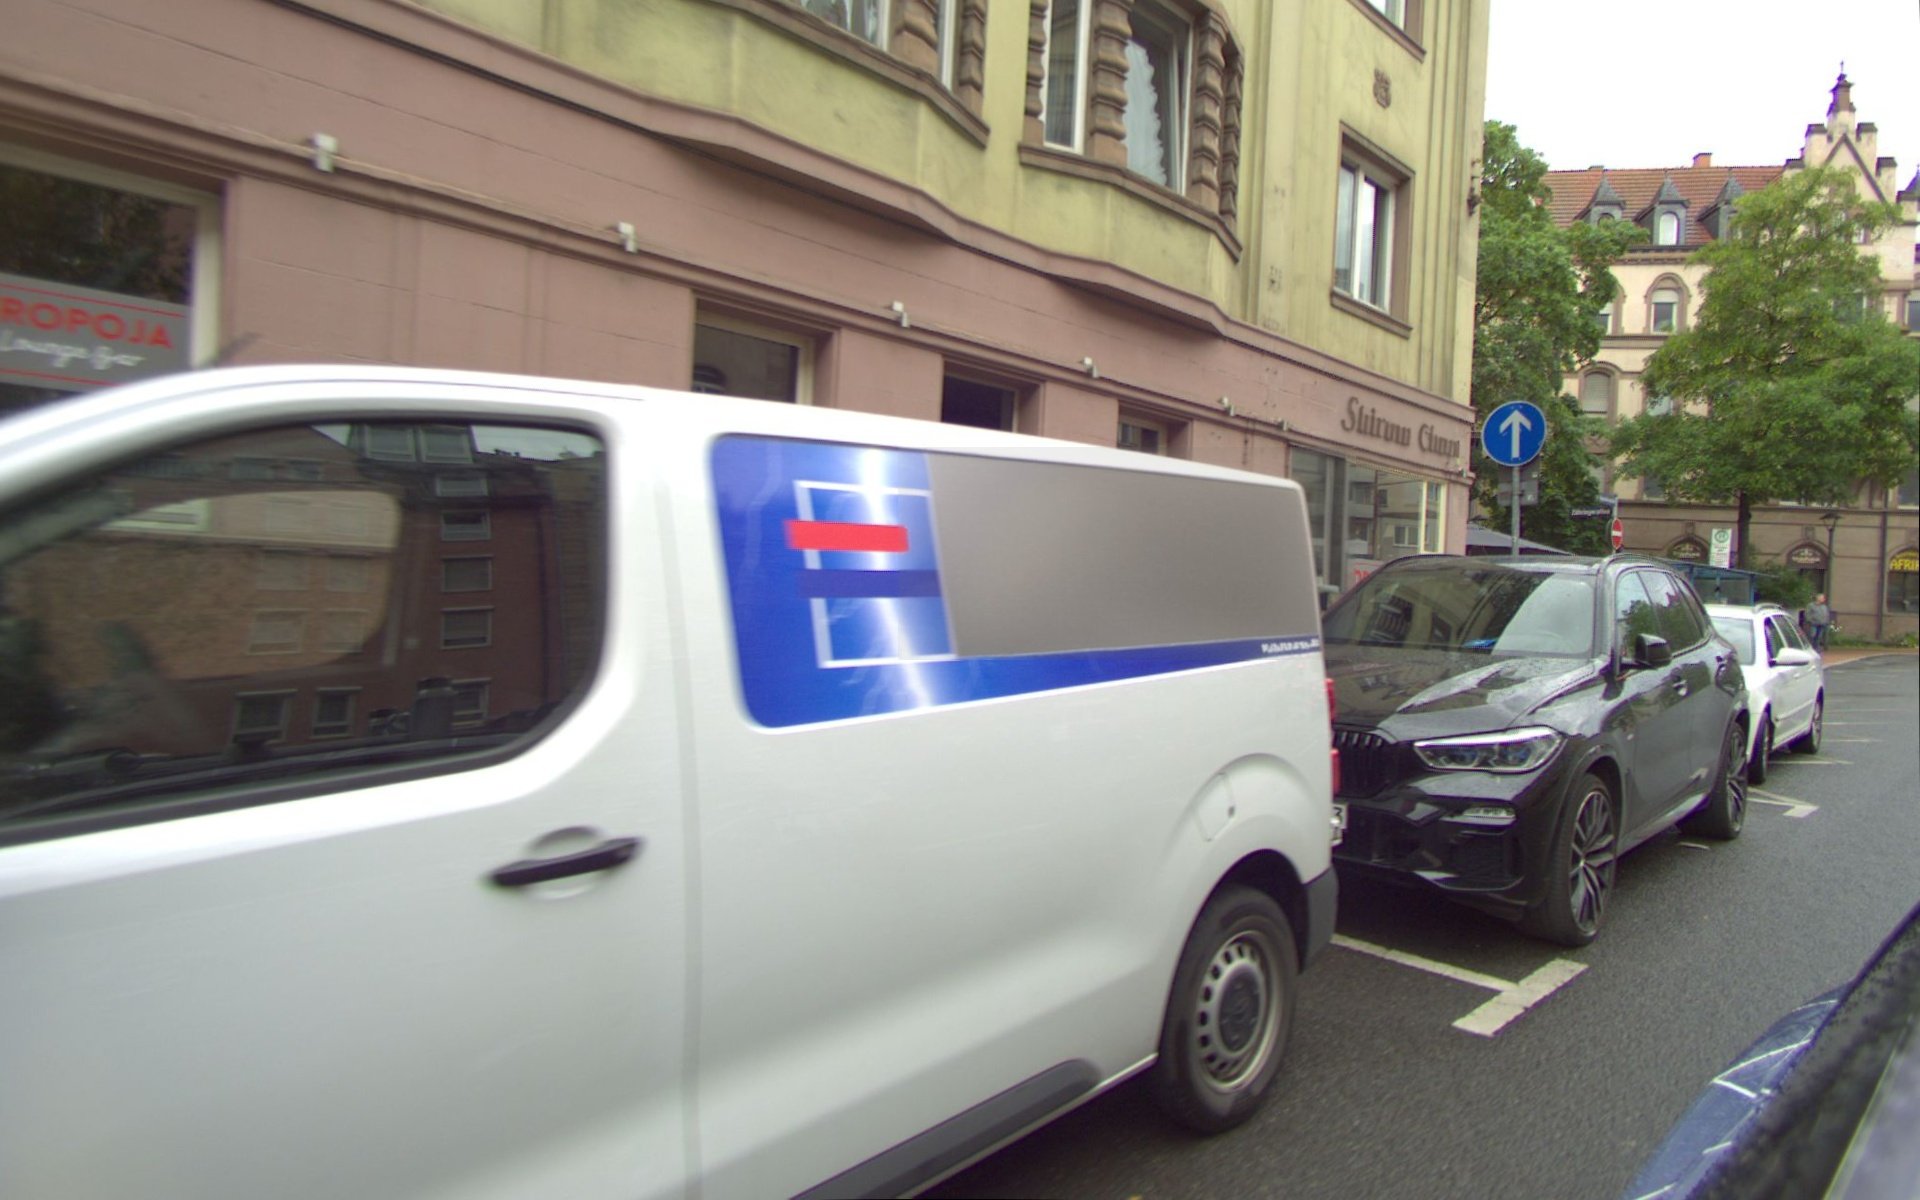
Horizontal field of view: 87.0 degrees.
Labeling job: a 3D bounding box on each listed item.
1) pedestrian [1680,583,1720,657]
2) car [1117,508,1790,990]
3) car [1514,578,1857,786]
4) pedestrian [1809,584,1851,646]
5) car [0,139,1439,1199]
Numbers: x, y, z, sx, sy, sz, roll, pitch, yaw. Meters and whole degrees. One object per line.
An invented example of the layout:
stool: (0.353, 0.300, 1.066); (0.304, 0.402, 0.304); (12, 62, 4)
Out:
pedestrian: (18.036, 0.485, 24.676); (0.534, 1.798, 0.561); (0, -1, -12)
car: (3.138, 0.521, 5.903); (4.595, 1.753, 1.882); (0, 0, -41)
car: (7.203, 0.607, 9.862); (4.415, 1.584, 1.801); (0, 0, -42)
pedestrian: (24.712, 0.426, 28.758); (0.716, 1.756, 0.574); (0, -1, -13)
car: (-1.005, 0.398, 2.328); (4.921, 1.849, 1.924); (0, 3, -41)
